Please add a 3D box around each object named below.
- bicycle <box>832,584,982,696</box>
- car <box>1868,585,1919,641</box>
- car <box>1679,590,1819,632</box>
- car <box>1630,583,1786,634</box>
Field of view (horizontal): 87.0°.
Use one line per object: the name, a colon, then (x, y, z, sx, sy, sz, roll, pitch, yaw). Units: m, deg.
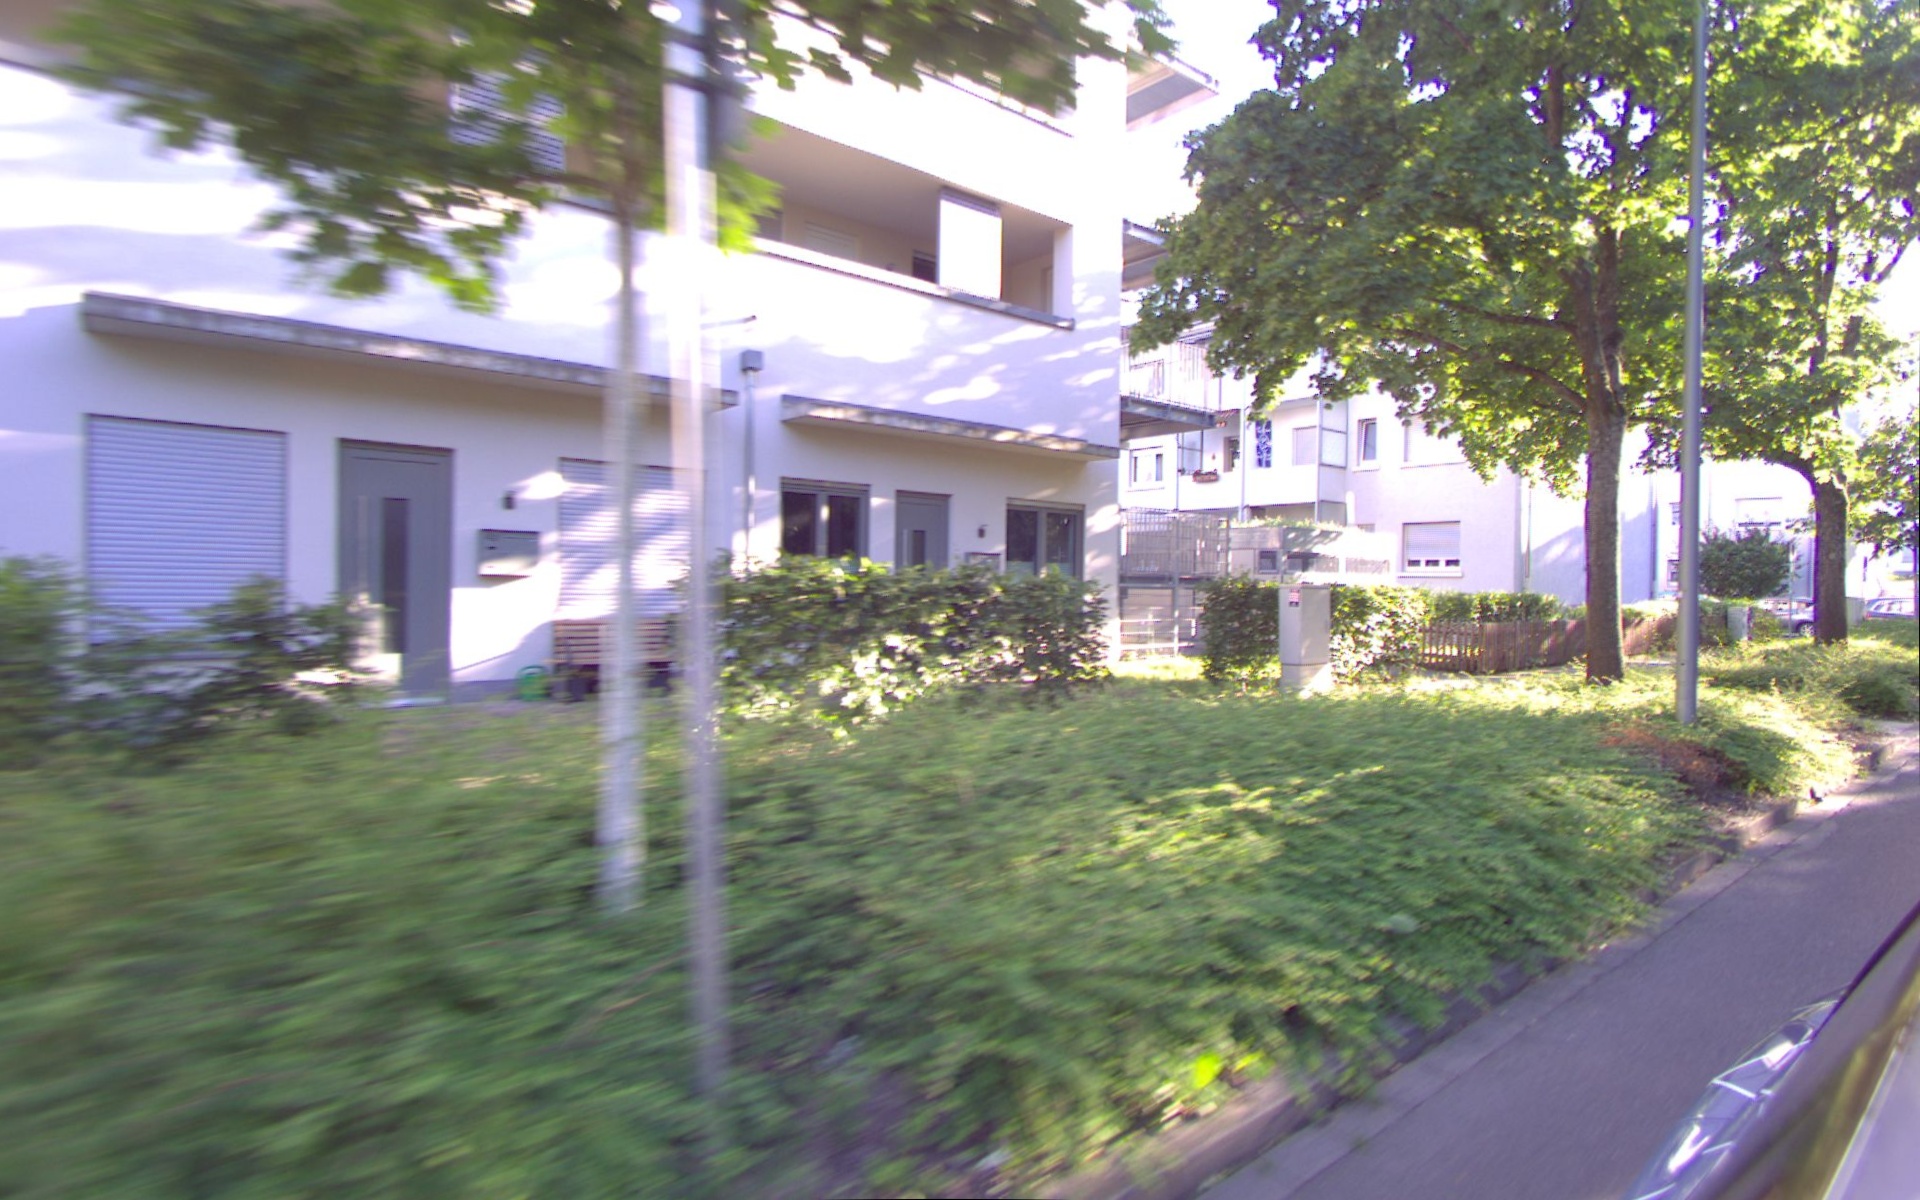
bicycle: (-0.592, 0.426, 11.736, 1.722, 1.206, 0.619, 0, 0, -40)
car: (30.329, 0.387, 30.317, 1.732, 1.695, 4.287, 0, -1, -21)
car: (30.955, 0.403, 39.801, 1.696, 1.533, 4.050, -1, 1, -39)
car: (25.603, 0.274, 34.740, 1.777, 1.601, 3.995, 2, 0, -40)
